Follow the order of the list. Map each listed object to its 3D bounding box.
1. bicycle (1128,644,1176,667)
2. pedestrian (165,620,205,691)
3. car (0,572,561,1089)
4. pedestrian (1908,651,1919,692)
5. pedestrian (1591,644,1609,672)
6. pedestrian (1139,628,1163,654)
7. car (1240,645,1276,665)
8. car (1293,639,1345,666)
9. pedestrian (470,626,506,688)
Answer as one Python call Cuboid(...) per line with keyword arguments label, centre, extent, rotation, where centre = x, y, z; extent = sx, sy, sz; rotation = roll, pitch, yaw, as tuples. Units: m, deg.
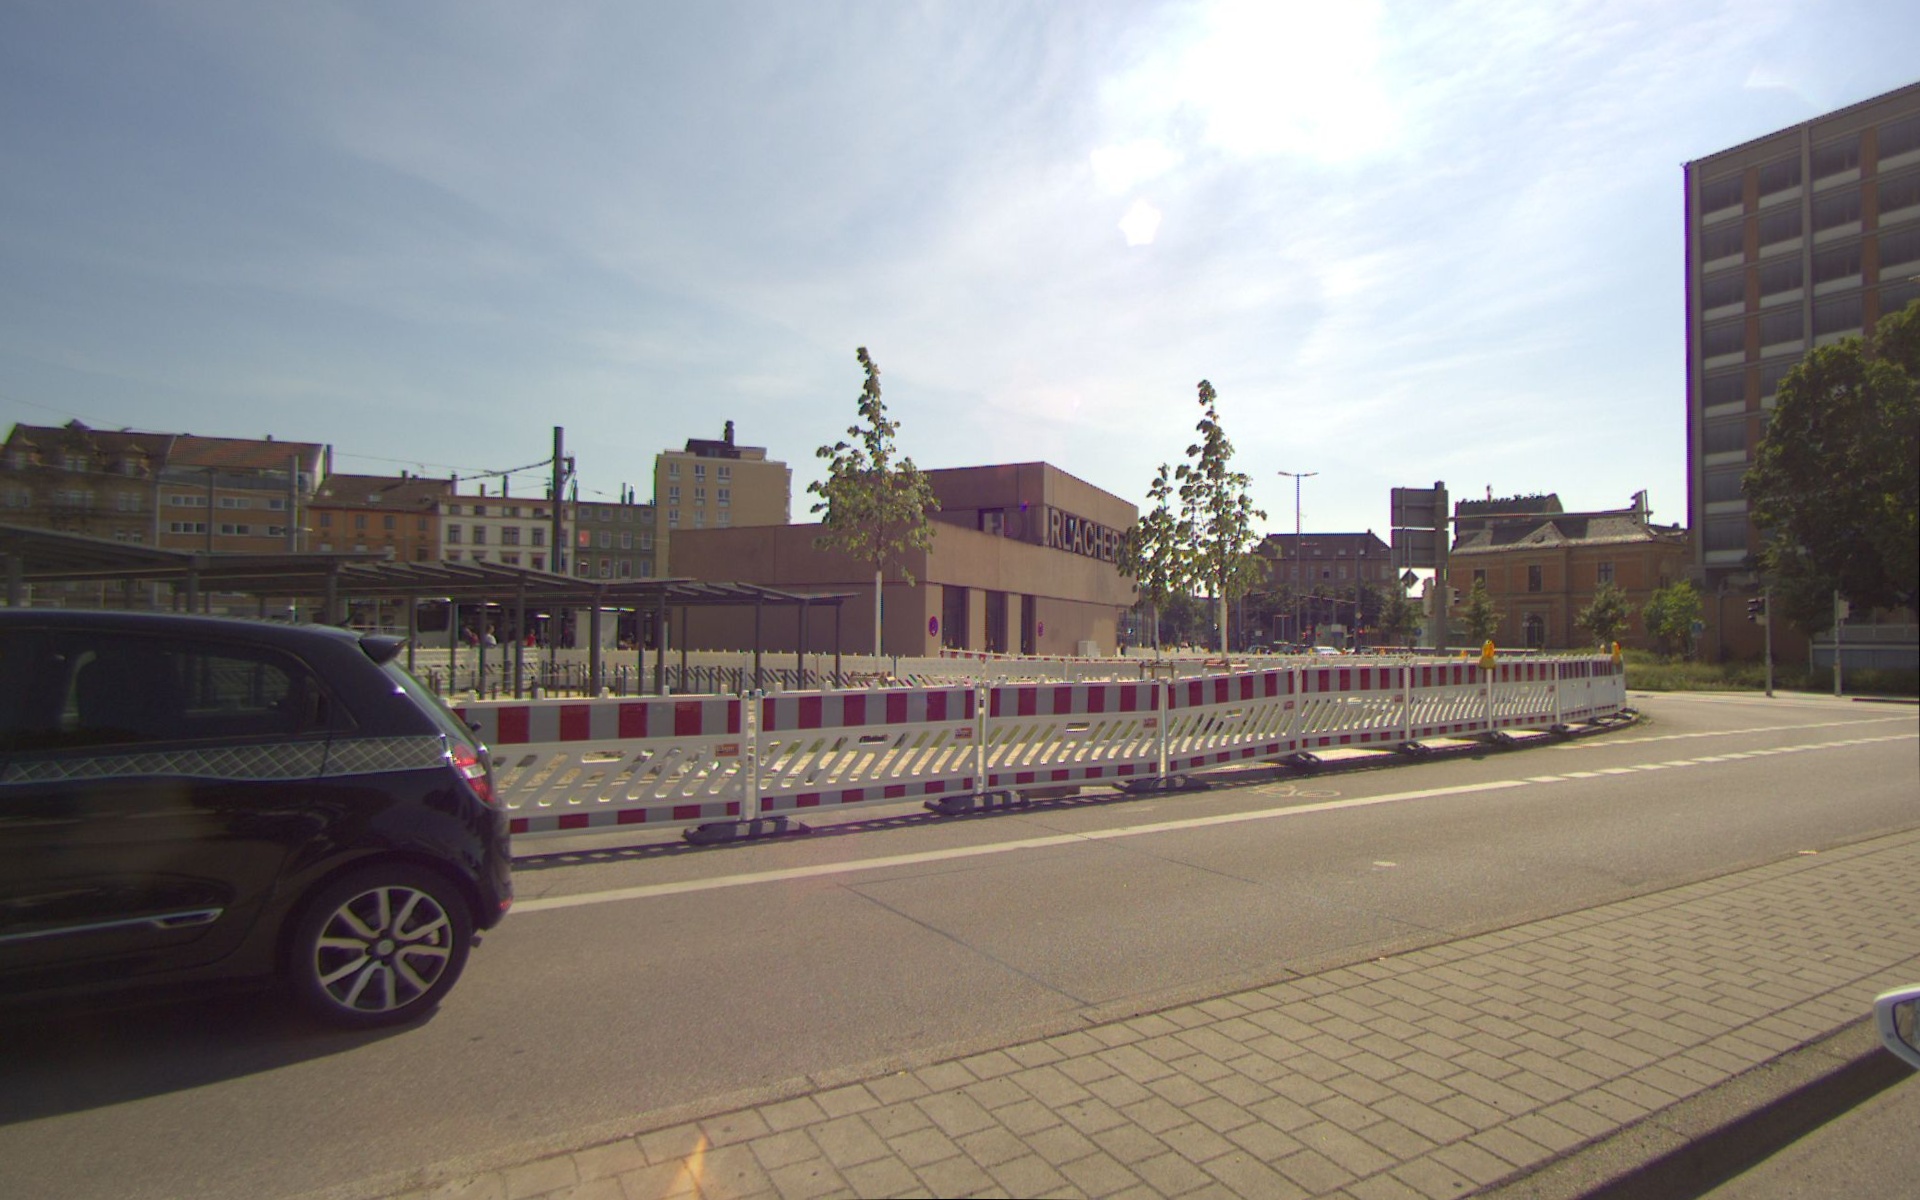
Cuboid(label="bicycle", centre=(16.109, 4.654, 84.211), extent=(3.672, 1.803, 1.498), rotation=(2, 0, -1))
Cuboid(label="pedestrian", centre=(-22.491, 1.608, 29.157), extent=(0.807, 2.040, 0.684), rotation=(-1, -3, 35))
Cuboid(label="car", centre=(-3.518, 0.742, 3.754), extent=(3.589, 1.594, 1.654), rotation=(1, -3, -29))
Cuboid(label="pedestrian", centre=(41.984, 3.120, 43.635), extent=(0.857, 1.748, 0.799), rotation=(1, -2, -7))
Cuboid(label="pedestrian", centre=(40.053, 3.614, 62.873), extent=(0.637, 1.683, 0.650), rotation=(2, 0, -3))
Cuboid(label="pedestrian", centre=(15.993, 3.442, 84.224), extent=(1.619, 2.040, 1.527), rotation=(2, 0, -2))
Cuboid(label="car", centre=(23.771, 4.365, 80.224), extent=(1.764, 1.530, 4.001), rotation=(1, -2, 1))
Cuboid(label="car", centre=(25.985, 3.774, 72.759), extent=(1.963, 1.839, 3.996), rotation=(1, -2, -7))
Cuboid(label="pedestrian", centre=(-12.485, 1.505, 26.574), extent=(0.563, 1.602, 0.615), rotation=(-1, -2, 24))
